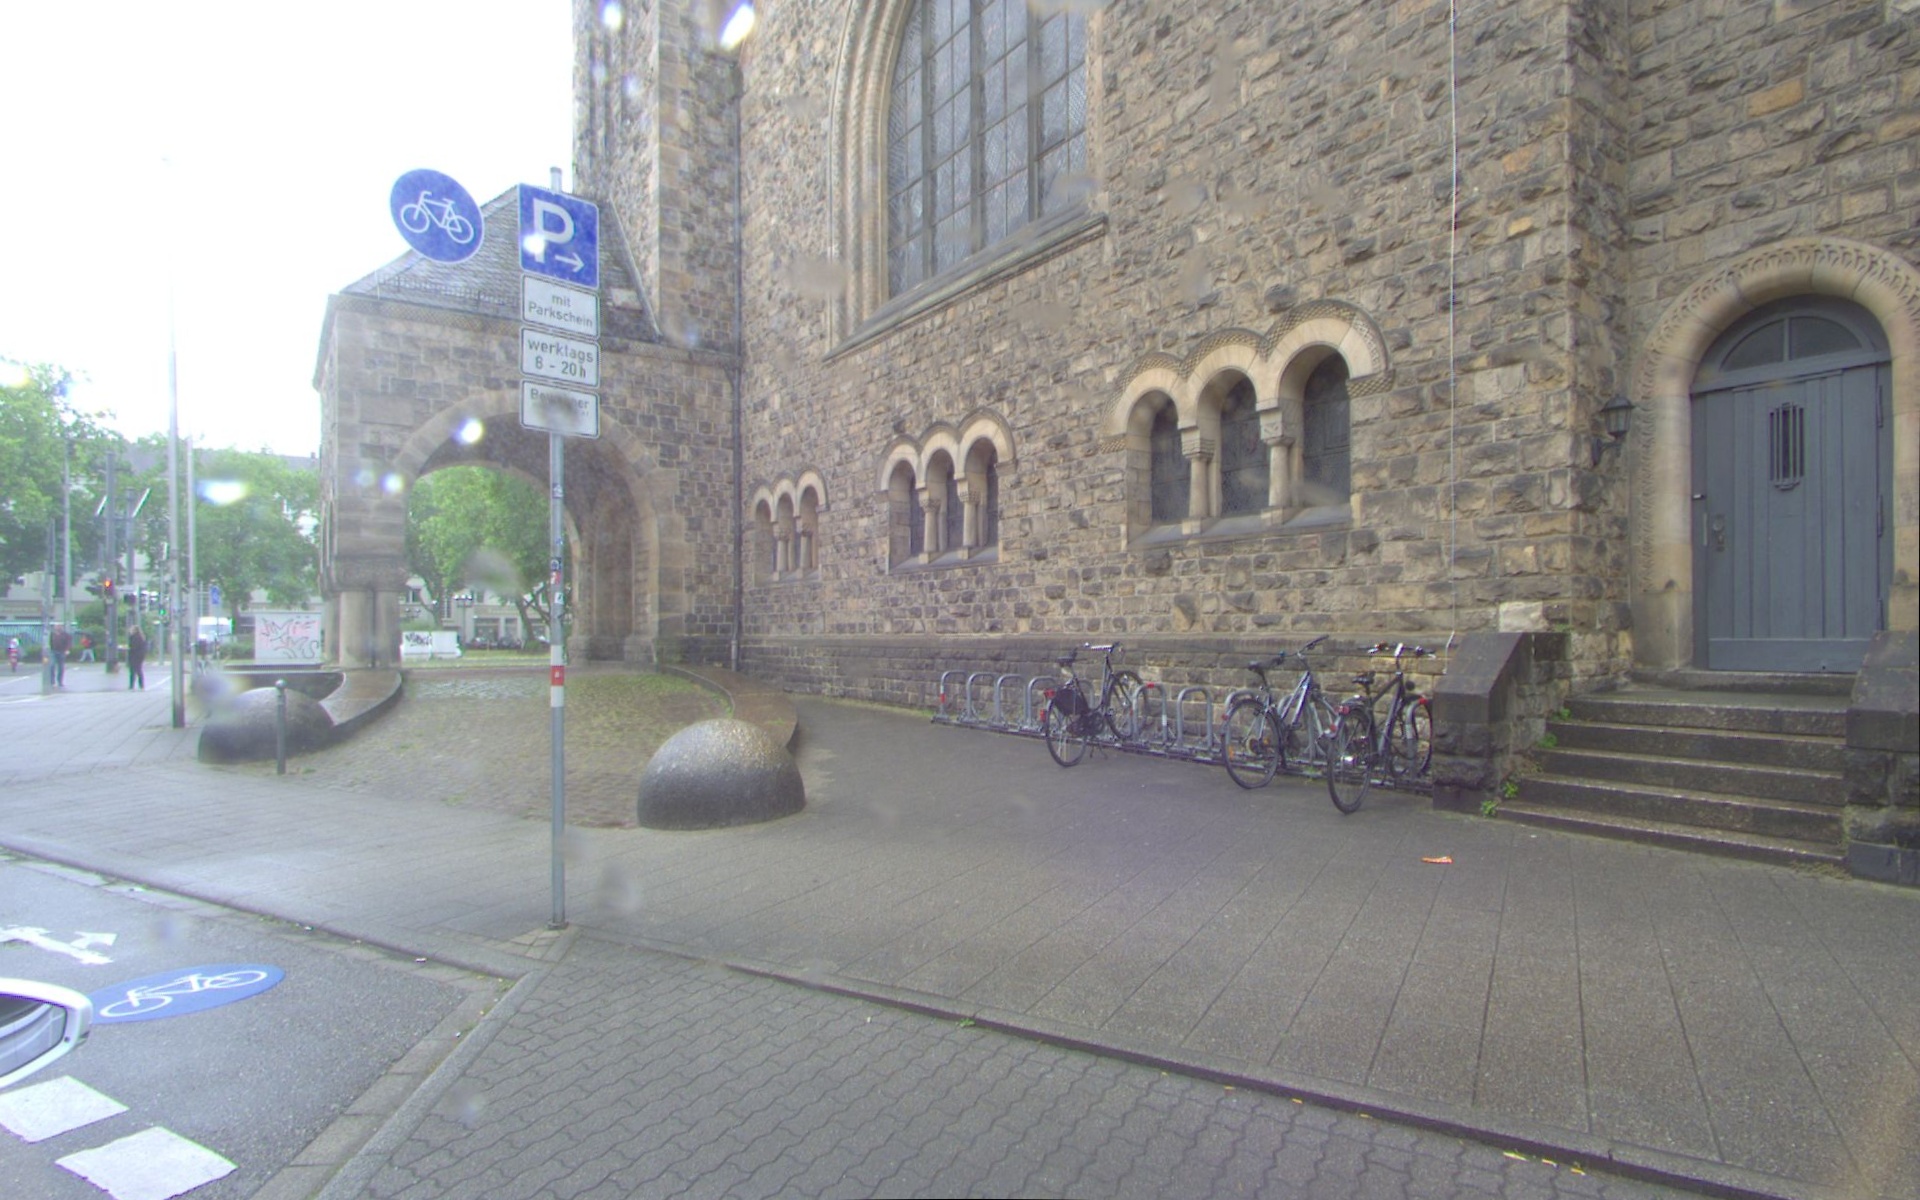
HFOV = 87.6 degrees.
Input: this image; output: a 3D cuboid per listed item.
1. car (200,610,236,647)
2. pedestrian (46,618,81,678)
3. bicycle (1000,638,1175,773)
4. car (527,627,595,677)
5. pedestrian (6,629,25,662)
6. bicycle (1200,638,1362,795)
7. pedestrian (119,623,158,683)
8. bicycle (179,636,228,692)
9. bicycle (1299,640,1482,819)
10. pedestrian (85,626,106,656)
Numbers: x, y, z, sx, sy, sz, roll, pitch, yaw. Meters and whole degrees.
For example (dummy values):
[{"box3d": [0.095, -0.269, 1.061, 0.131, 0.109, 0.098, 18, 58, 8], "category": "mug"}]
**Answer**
[{"box3d": [-53.688, 2.068, 72.526, 1.888, 2.588, 4.757, 0, -1, -34], "category": "car"}, {"box3d": [-27.078, 1.436, 30.243, 0.780, 1.782, 0.936, 0, 0, -43], "category": "pedestrian"}, {"box3d": [1.302, 0.977, 9.910, 0.684, 1.119, 1.973, -1, 0, 43], "category": "bicycle"}, {"box3d": [-12.755, 1.611, 31.947, 1.389, 1.498, 3.200, 1, -2, -34], "category": "car"}, {"box3d": [-47.597, 2.279, 50.459, 0.607, 1.624, 0.491, 0, -1, -34], "category": "pedestrian"}, {"box3d": [2.736, 0.919, 8.431, 1.697, 1.126, 0.556, -2, 0, -45], "category": "bicycle"}, {"box3d": [-23.297, 1.492, 28.413, 0.775, 1.667, 0.651, 0, 0, -34], "category": "pedestrian"}, {"box3d": [-16.626, 1.381, 21.987, 2.049, 1.169, 0.327, -1, -1, 38], "category": "bicycle"}, {"box3d": [3.194, 0.869, 7.324, 1.971, 1.068, 0.507, -2, 0, -45], "category": "bicycle"}, {"box3d": [-45.820, 2.189, 53.070, 0.666, 1.573, 0.758, 0, -2, -30], "category": "pedestrian"}]
